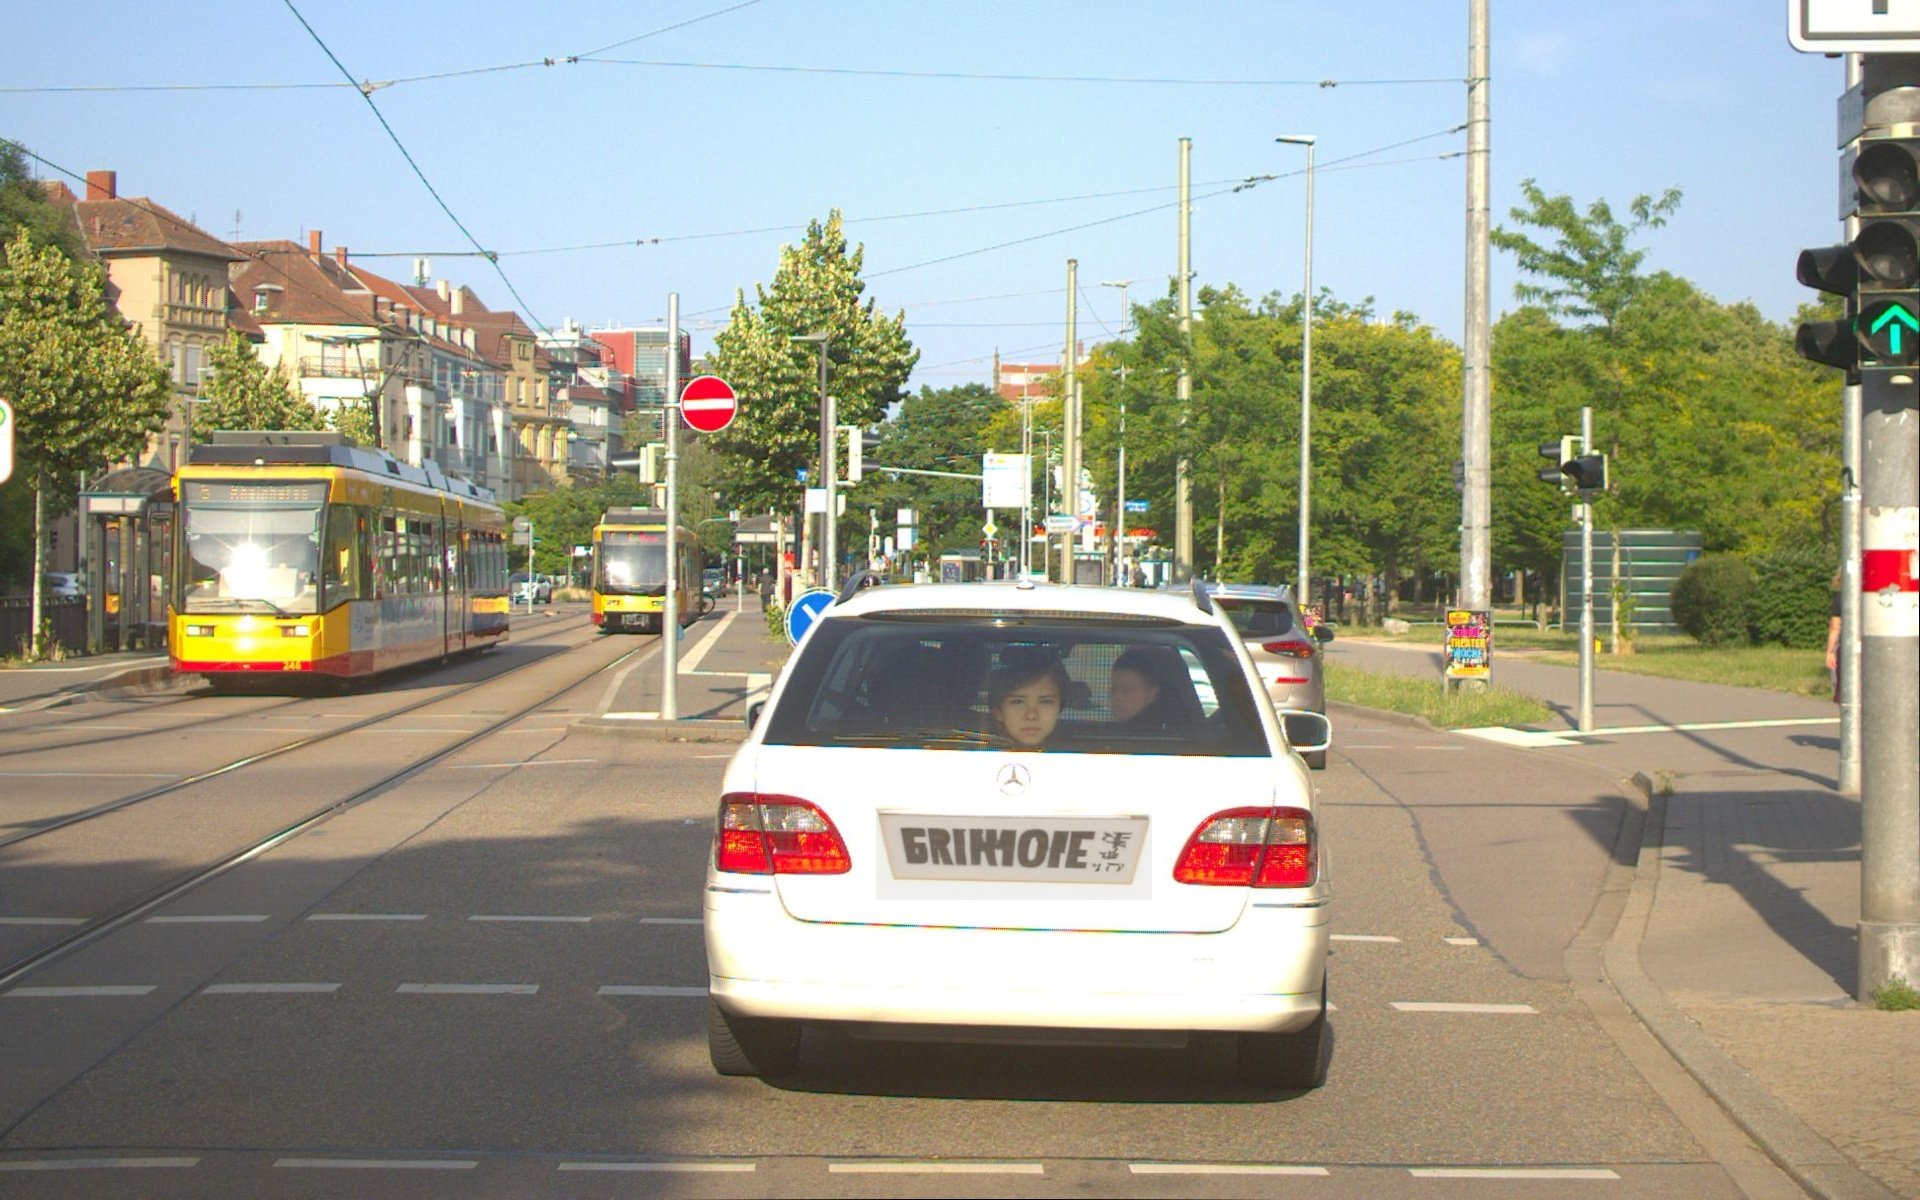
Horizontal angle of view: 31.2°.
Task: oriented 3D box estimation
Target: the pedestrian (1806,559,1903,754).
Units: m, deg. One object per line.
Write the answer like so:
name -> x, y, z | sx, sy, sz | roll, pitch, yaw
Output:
pedestrian -> 7.983, 0.497, 30.684 | 0.615, 1.686, 0.548 | -4, 0, 1

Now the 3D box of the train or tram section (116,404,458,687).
train or tram section -> -9.493, -0.786, 50.355 | 3.161, 3.467, 14.535 | 1, 1, -4

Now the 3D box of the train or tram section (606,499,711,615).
train or tram section -> -9.683, -1.415, 111.525 | 2.849, 3.467, 13.201 | 1, 1, -3

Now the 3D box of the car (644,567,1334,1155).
car -> 0.040, 0.652, 10.814 | 1.758, 1.498, 4.000 | 0, 1, -1

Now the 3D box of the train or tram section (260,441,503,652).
train or tram section -> -10.647, -0.996, 64.809 | 3.161, 3.467, 14.474 | 1, 1, -4

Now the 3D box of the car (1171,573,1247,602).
car -> 14.482, -0.728, 199.936 | 3.991, 1.645, 1.998 | 1, 0, 23

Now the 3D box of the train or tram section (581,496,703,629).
train or tram section -> -9.016, -1.114, 98.616 | 2.849, 3.467, 13.201 | 2, 1, -3

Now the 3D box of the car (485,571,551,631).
car -> -21.517, 0.019, 167.648 | 2.596, 2.726, 7.469 | 1, 1, -3

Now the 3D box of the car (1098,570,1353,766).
car -> 2.337, 0.560, 31.283 | 2.033, 1.600, 4.000 | 1, 1, 1

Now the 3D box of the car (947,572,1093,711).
car -> 0.792, 0.505, 45.117 | 1.787, 1.684, 4.000 | 1, 1, 1
